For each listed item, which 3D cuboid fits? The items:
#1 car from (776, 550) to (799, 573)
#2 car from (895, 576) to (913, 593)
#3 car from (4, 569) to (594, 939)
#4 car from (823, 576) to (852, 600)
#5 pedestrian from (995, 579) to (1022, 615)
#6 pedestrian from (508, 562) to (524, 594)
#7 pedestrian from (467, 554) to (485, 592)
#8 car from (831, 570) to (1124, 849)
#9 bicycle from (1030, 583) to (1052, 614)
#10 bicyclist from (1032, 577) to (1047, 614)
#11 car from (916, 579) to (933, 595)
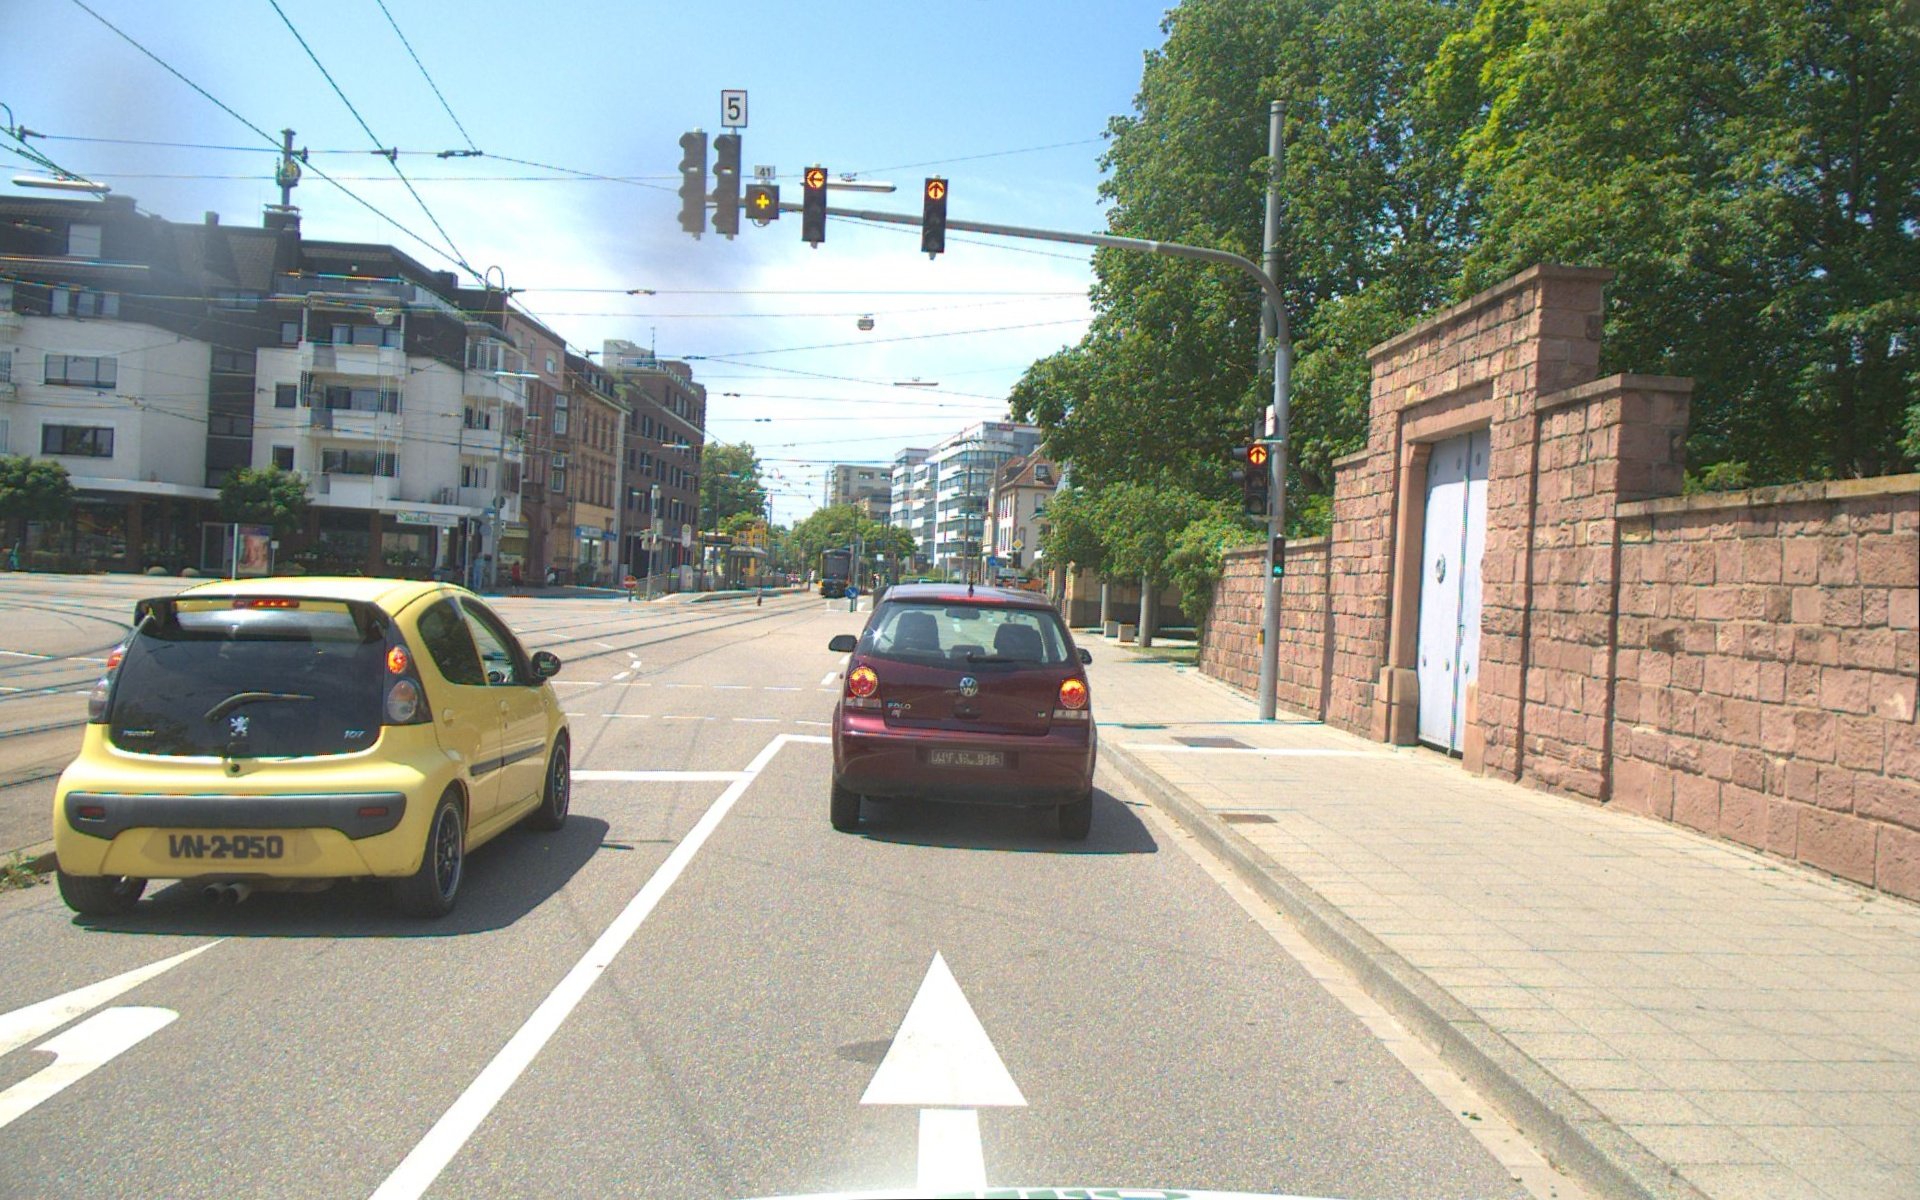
[{"bbox_3d":[-16.385,-3.650,157.204,1.700,2.048,3.999,2,1,-1],"label":"car"},{"bbox_3d":[-5.872,-1.610,173.947,1.744,1.651,3.998,1,0,-3],"label":"car"},{"bbox_3d":[-3.017,0.591,8.290,1.688,1.470,3.292,1,1,-2],"label":"car"},{"bbox_3d":[-8.884,-0.881,120.021,1.899,1.670,3.999,1,0,-2],"label":"car"},{"bbox_3d":[2.331,-0.158,79.161,0.966,1.690,0.914,2,0,-18],"label":"pedestrian"},{"bbox_3d":[-21.475,-1.063,79.993,0.473,1.568,0.538,1,0,13],"label":"pedestrian"},{"bbox_3d":[-22.677,-1.260,77.558,0.497,1.785,0.606,1,-1,45],"label":"pedestrian"},{"bbox_3d":[0.040,0.593,11.306,1.577,1.489,4.084,3,1,-2],"label":"car"},{"bbox_3d":[4.069,-0.068,83.301,0.818,1.552,3.999,1,0,-1],"label":"bicycle"},{"bbox_3d":[4.043,-0.213,84.080,0.707,1.850,0.888,1,0,-1],"label":"bicyclist"},{"bbox_3d":[-3.286,-1.176,152.050,1.541,1.440,3.719,0,1,-2],"label":"car"}]
